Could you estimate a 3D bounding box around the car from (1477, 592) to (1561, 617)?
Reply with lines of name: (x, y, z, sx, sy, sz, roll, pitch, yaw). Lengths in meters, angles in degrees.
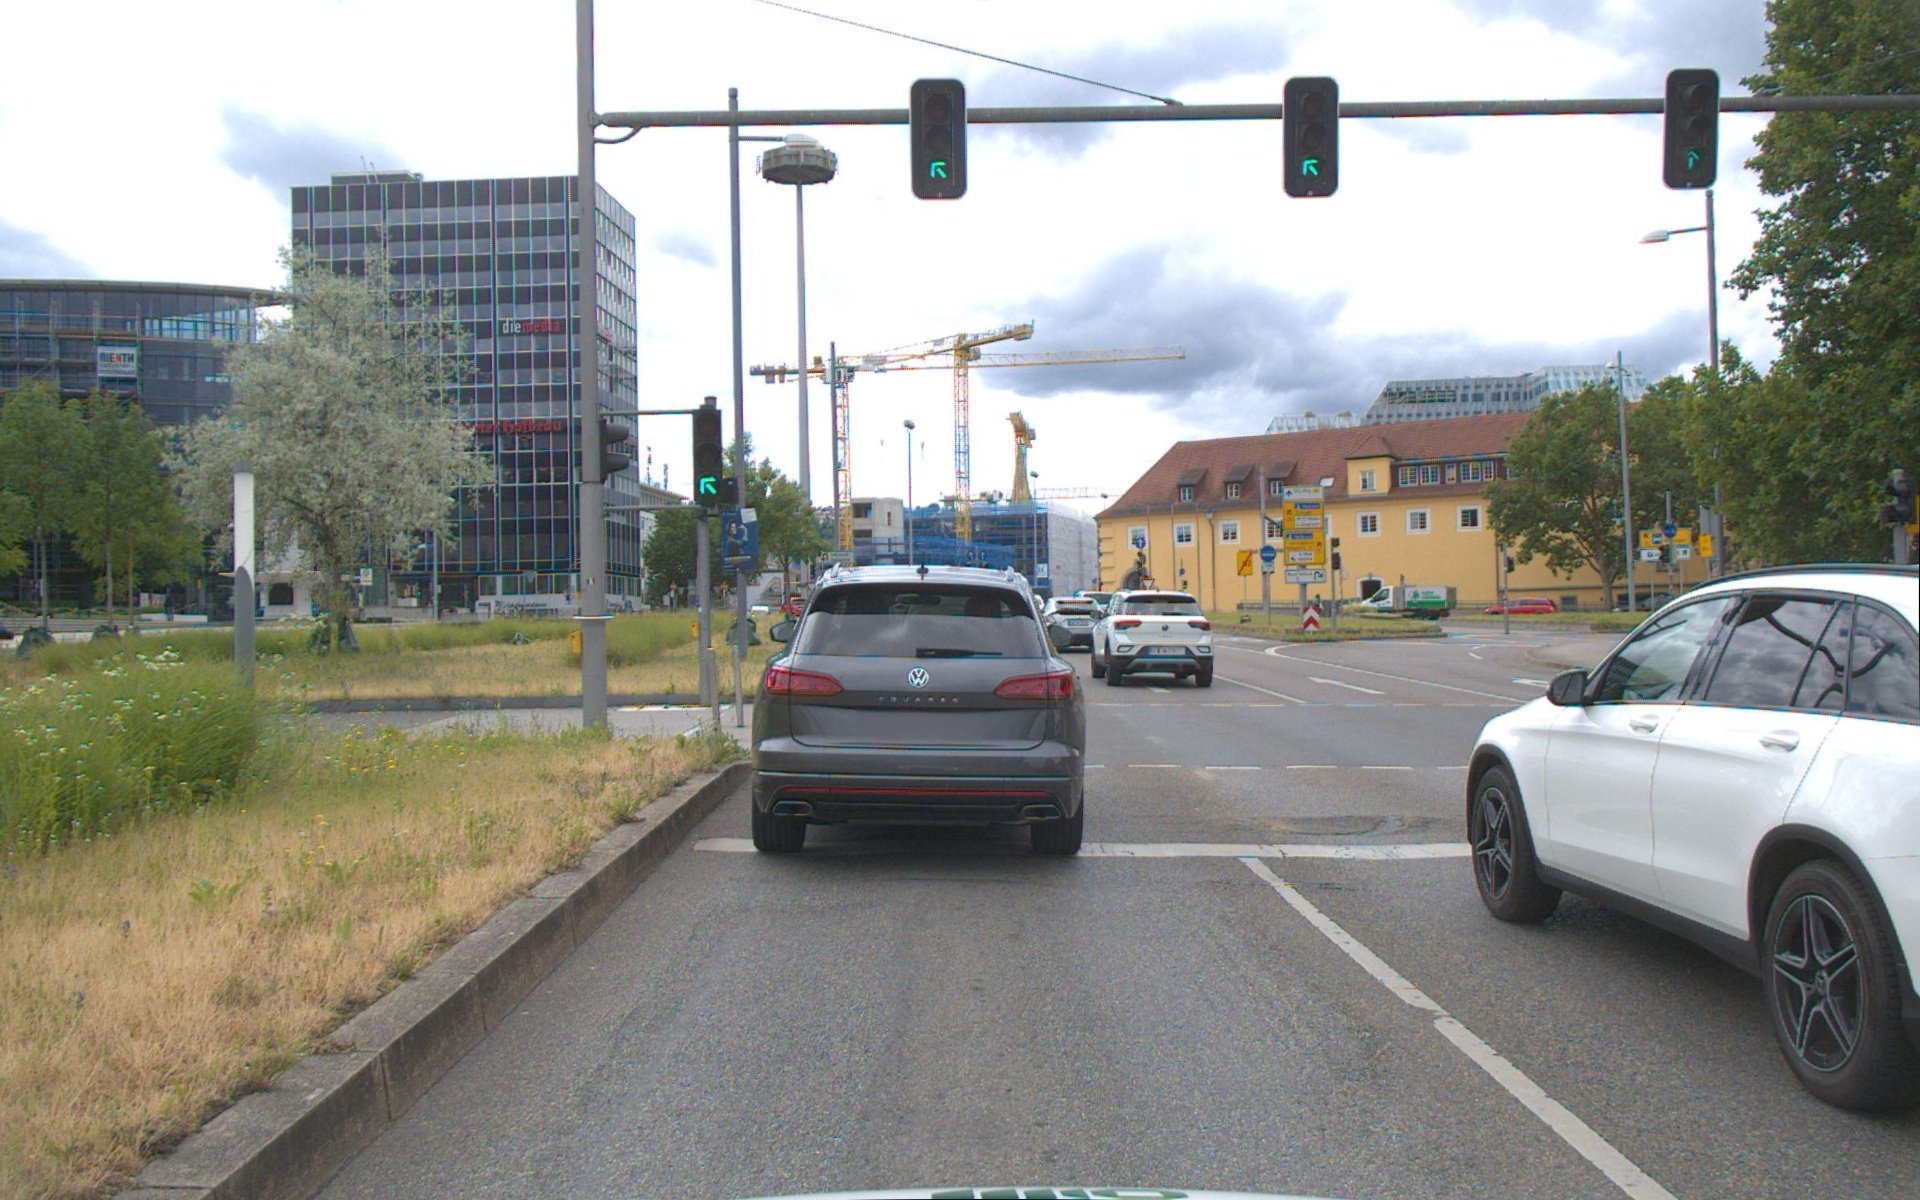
car: (33.872, 0.286, 100.320, 4.592, 1.445, 1.593, -1, 0, 31)

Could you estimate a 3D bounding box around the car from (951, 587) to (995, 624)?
car: (0.606, 0.244, 78.797, 1.778, 1.522, 3.904, -3, 1, -3)

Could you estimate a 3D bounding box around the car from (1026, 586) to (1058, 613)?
car: (4.667, -0.044, 94.394, 1.683, 1.529, 3.981, 0, 0, 0)

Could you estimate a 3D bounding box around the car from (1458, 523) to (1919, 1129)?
car: (3.496, 0.605, 6.299, 1.782, 1.676, 4.377, 0, 0, -2)

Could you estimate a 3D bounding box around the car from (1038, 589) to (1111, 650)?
car: (2.997, 0.481, 44.117, 1.683, 1.529, 4.144, 0, 0, 0)

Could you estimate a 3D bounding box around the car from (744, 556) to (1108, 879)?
car: (-0.204, 0.594, 10.653, 1.893, 1.676, 3.999, 0, 0, -1)

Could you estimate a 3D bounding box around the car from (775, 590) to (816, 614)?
car: (-10.846, 0.142, 108.655, 1.695, 1.529, 3.955, 0, 0, -22)

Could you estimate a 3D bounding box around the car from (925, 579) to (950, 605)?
car: (-1.851, -0.668, 135.694, 1.953, 2.049, 3.999, 0, 0, -1)

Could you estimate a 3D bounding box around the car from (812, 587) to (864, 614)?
car: (-7.243, -0.007, 98.023, 2.208, 1.529, 4.591, 0, 0, -16)

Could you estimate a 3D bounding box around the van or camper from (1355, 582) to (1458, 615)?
van or camper: (28.096, -0.080, 104.188, 5.902, 2.049, 2.013, -1, 0, 35)

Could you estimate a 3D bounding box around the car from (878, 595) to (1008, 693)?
car: (-0.290, 0.659, 27.096, 1.953, 1.411, 4.000, -1, 1, -1)

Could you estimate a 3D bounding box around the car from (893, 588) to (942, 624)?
car: (-1.907, 0.257, 73.127, 1.780, 1.522, 3.900, 0, 0, -7)

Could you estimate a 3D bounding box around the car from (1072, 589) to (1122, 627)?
car: (5.688, 0.328, 69.100, 1.766, 1.529, 3.981, 0, 0, 0)

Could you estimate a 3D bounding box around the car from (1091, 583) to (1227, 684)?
car: (3.346, 0.517, 28.478, 1.855, 1.613, 3.800, 0, 0, -1)

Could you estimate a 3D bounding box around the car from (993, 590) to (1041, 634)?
car: (2.068, 0.403, 59.665, 1.683, 1.529, 3.982, 0, 0, 2)
